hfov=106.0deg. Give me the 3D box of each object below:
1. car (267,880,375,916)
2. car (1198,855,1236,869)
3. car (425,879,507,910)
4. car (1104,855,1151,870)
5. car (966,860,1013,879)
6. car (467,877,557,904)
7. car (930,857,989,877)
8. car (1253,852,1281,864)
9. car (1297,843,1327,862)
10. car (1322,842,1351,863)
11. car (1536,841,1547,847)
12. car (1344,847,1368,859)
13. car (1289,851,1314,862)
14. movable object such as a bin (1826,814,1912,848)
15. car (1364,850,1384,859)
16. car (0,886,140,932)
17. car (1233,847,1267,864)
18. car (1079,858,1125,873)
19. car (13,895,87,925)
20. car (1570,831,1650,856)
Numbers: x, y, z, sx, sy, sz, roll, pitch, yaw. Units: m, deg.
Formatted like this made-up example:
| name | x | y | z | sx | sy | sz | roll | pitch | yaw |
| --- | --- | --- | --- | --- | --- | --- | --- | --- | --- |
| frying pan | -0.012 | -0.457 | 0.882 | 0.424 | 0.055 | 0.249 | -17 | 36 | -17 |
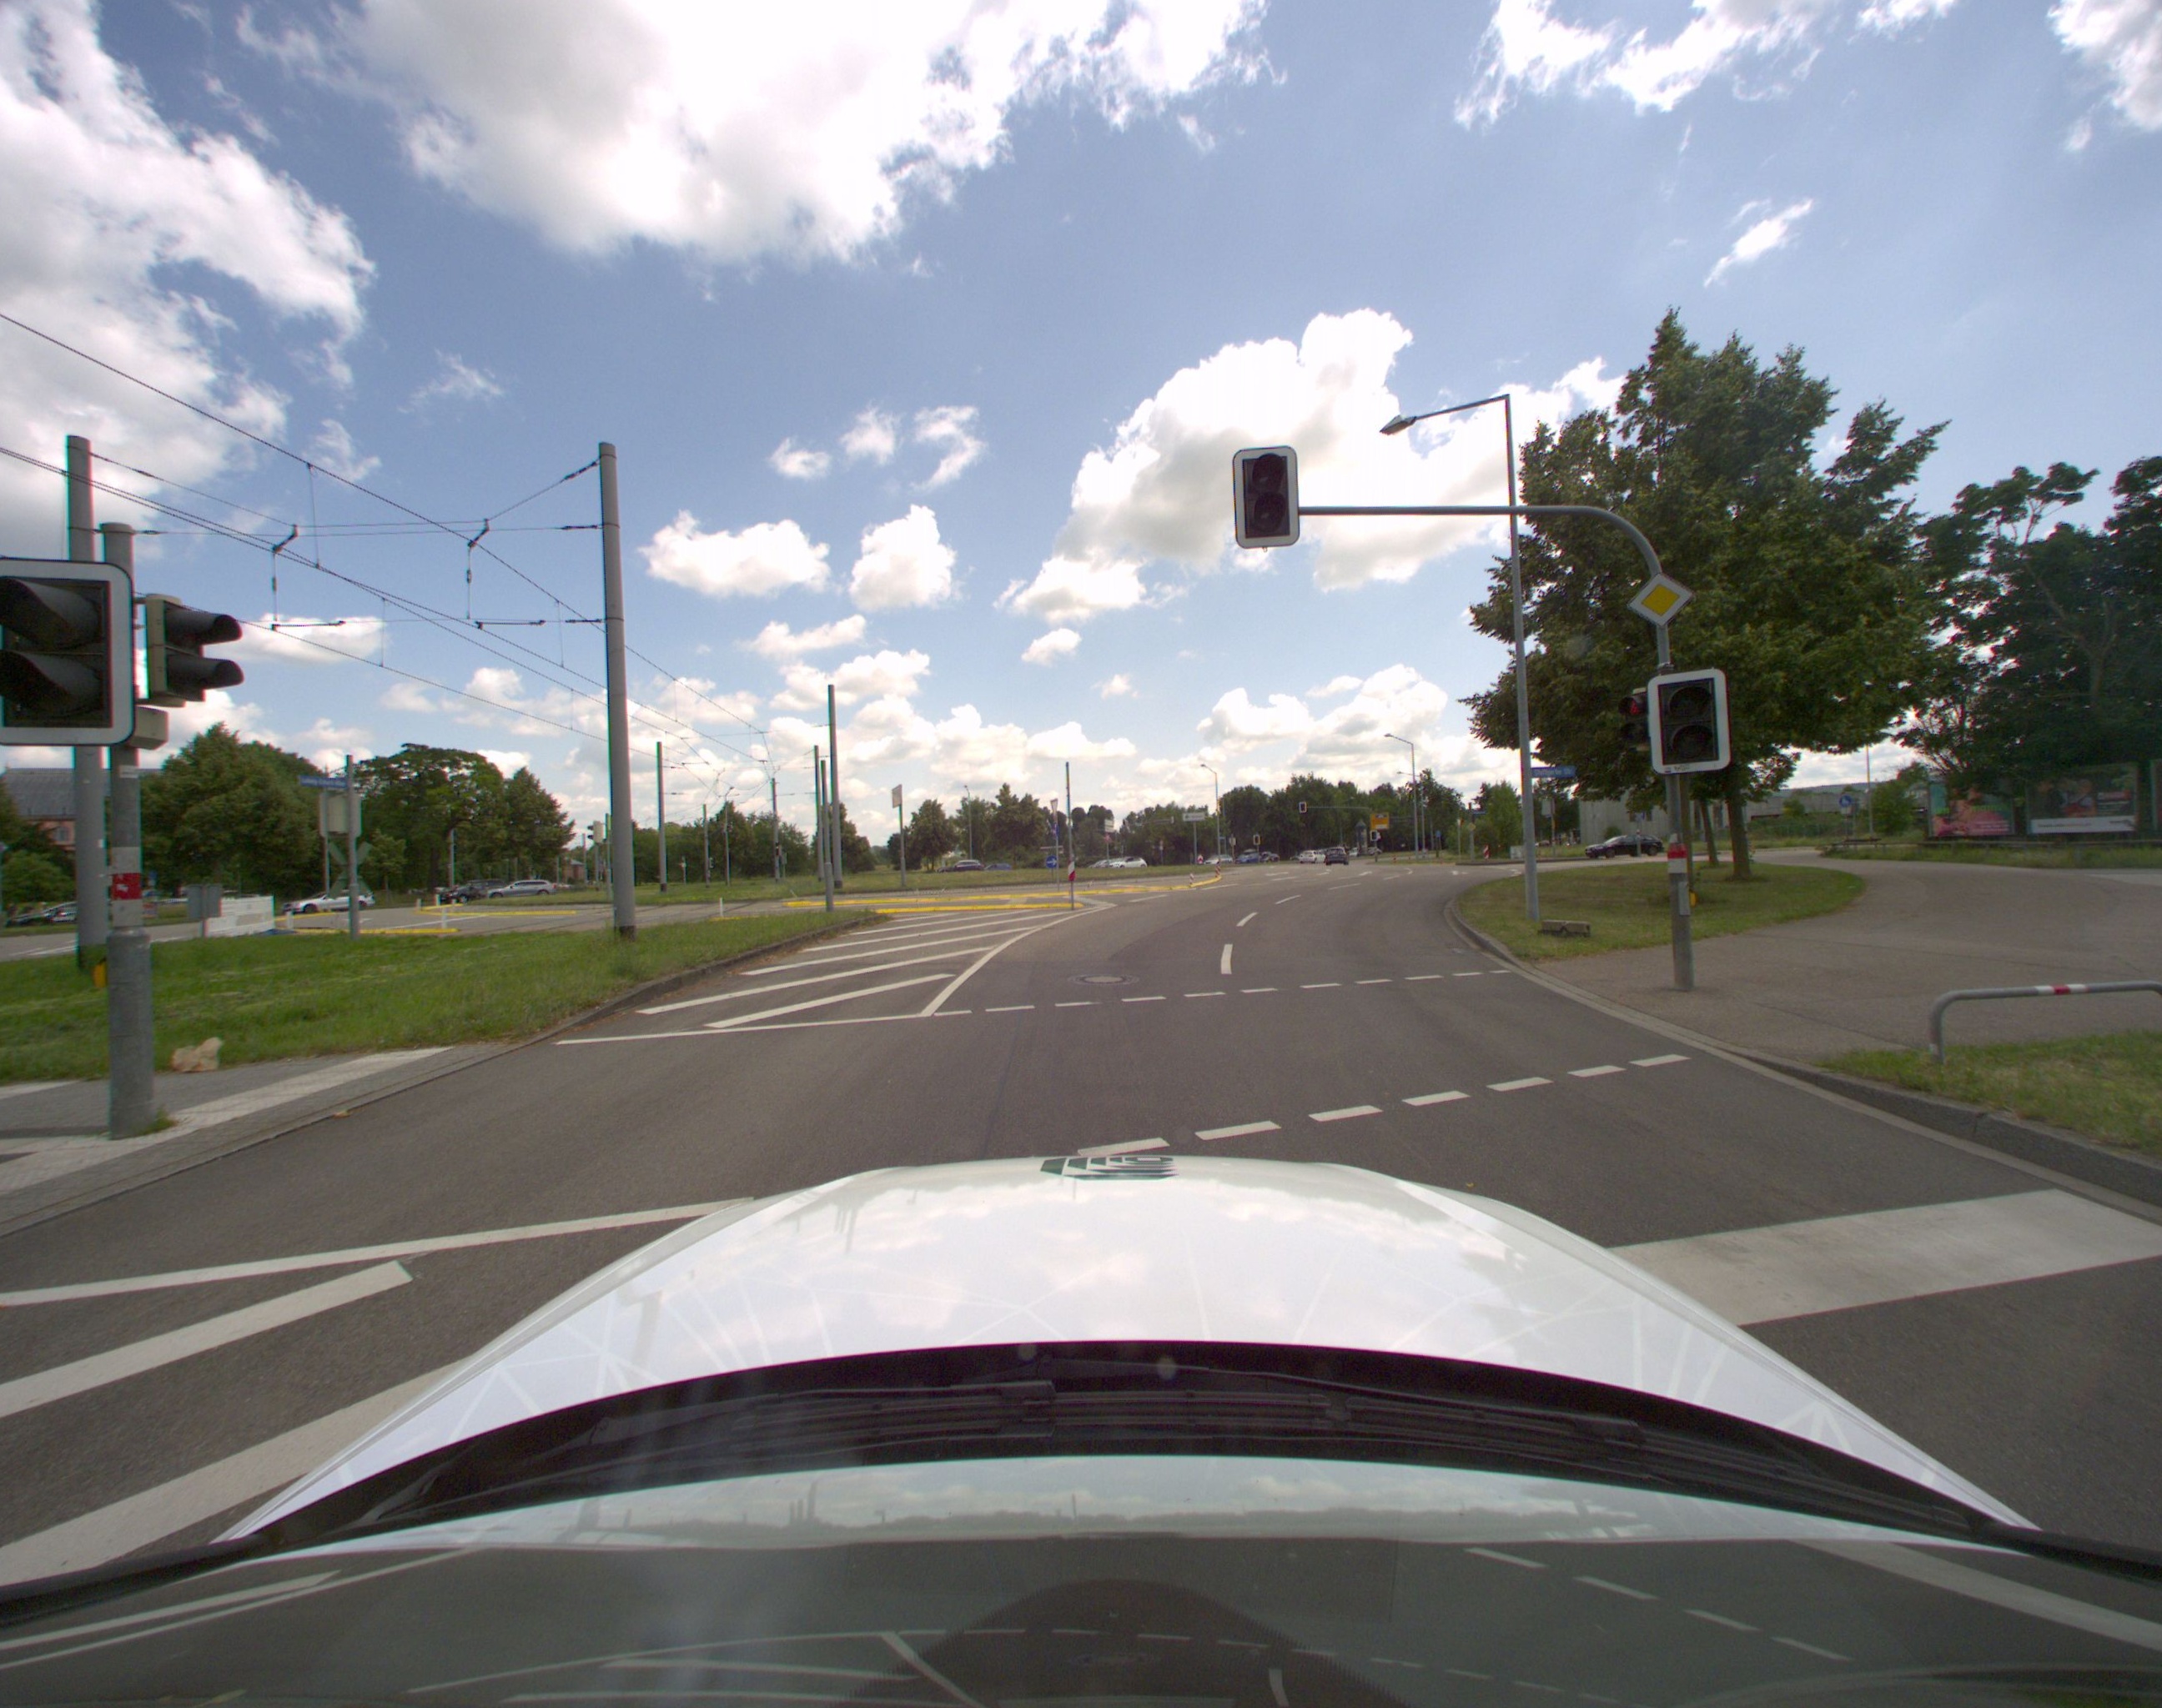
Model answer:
| name | x | y | z | sx | sy | sz | roll | pitch | yaw |
| --- | --- | --- | --- | --- | --- | --- | --- | --- | --- |
| car | -49.504 | 2.844 | 53.185 | 1.977 | 2.013 | 4.749 | -2 | 0 | 19 |
| car | 16.130 | 0.924 | 96.375 | 4.533 | 1.521 | 2.098 | -2 | 0 | -43 |
| car | -46.959 | 3.040 | 62.307 | 1.980 | 2.013 | 4.743 | -2 | 0 | 13 |
| car | 4.676 | 0.859 | 82.018 | 4.328 | 1.329 | 1.979 | -2 | 0 | -33 |
| car | -9.693 | 1.628 | 86.048 | 4.720 | 1.791 | 1.839 | -1 | -1 | -16 |
| car | -41.632 | 2.630 | 59.684 | 2.040 | 1.626 | 4.975 | 0 | 1 | 31 |
| car | -11.329 | 1.218 | 76.015 | 5.081 | 1.674 | 1.983 | -2 | 0 | -27 |
| car | 24.295 | 0.480 | 106.345 | 1.780 | 1.340 | 4.003 | -5 | -2 | 44 |
| car | 25.688 | -0.158 | 90.412 | 1.974 | 2.013 | 4.026 | -2 | 0 | 34 |
| car | 23.409 | -0.150 | 74.480 | 1.976 | 1.626 | 4.333 | -5 | -1 | 23 |
| car | 113.837 | -2.470 | 201.257 | 1.822 | 1.486 | 3.891 | -2 | 0 | 40 |
| car | 43.733 | -0.198 | 129.473 | 1.820 | 1.799 | 4.817 | -5 | -3 | 40 |
| car | 30.734 | 0.360 | 113.549 | 1.887 | 1.423 | 4.218 | -3 | -1 | 36 |
| movable object such as a bin | 91.082 | -2.664 | 94.206 | 7.584 | 3.852 | 3.042 | 0 | -1 | -7 |
| car | 48.189 | 0.109 | 133.994 | 1.822 | 1.486 | 3.891 | -1 | -1 | 40 |
| car | -53.991 | 2.879 | 43.310 | 1.976 | 2.013 | 4.752 | -2 | 0 | 23 |
| car | 19.667 | 0.163 | 94.842 | 1.734 | 1.798 | 4.435 | -2 | 0 | 43 |
| car | 2.198 | 1.184 | 85.491 | 4.511 | 1.323 | 1.933 | -2 | 0 | -36 |
| car | -79.967 | 4.319 | 63.221 | 2.004 | 2.013 | 3.965 | -2 | 0 | -27 |
| car | 33.859 | -0.670 | 52.188 | 3.973 | 1.463 | 1.689 | -1 | 0 | 0 |
